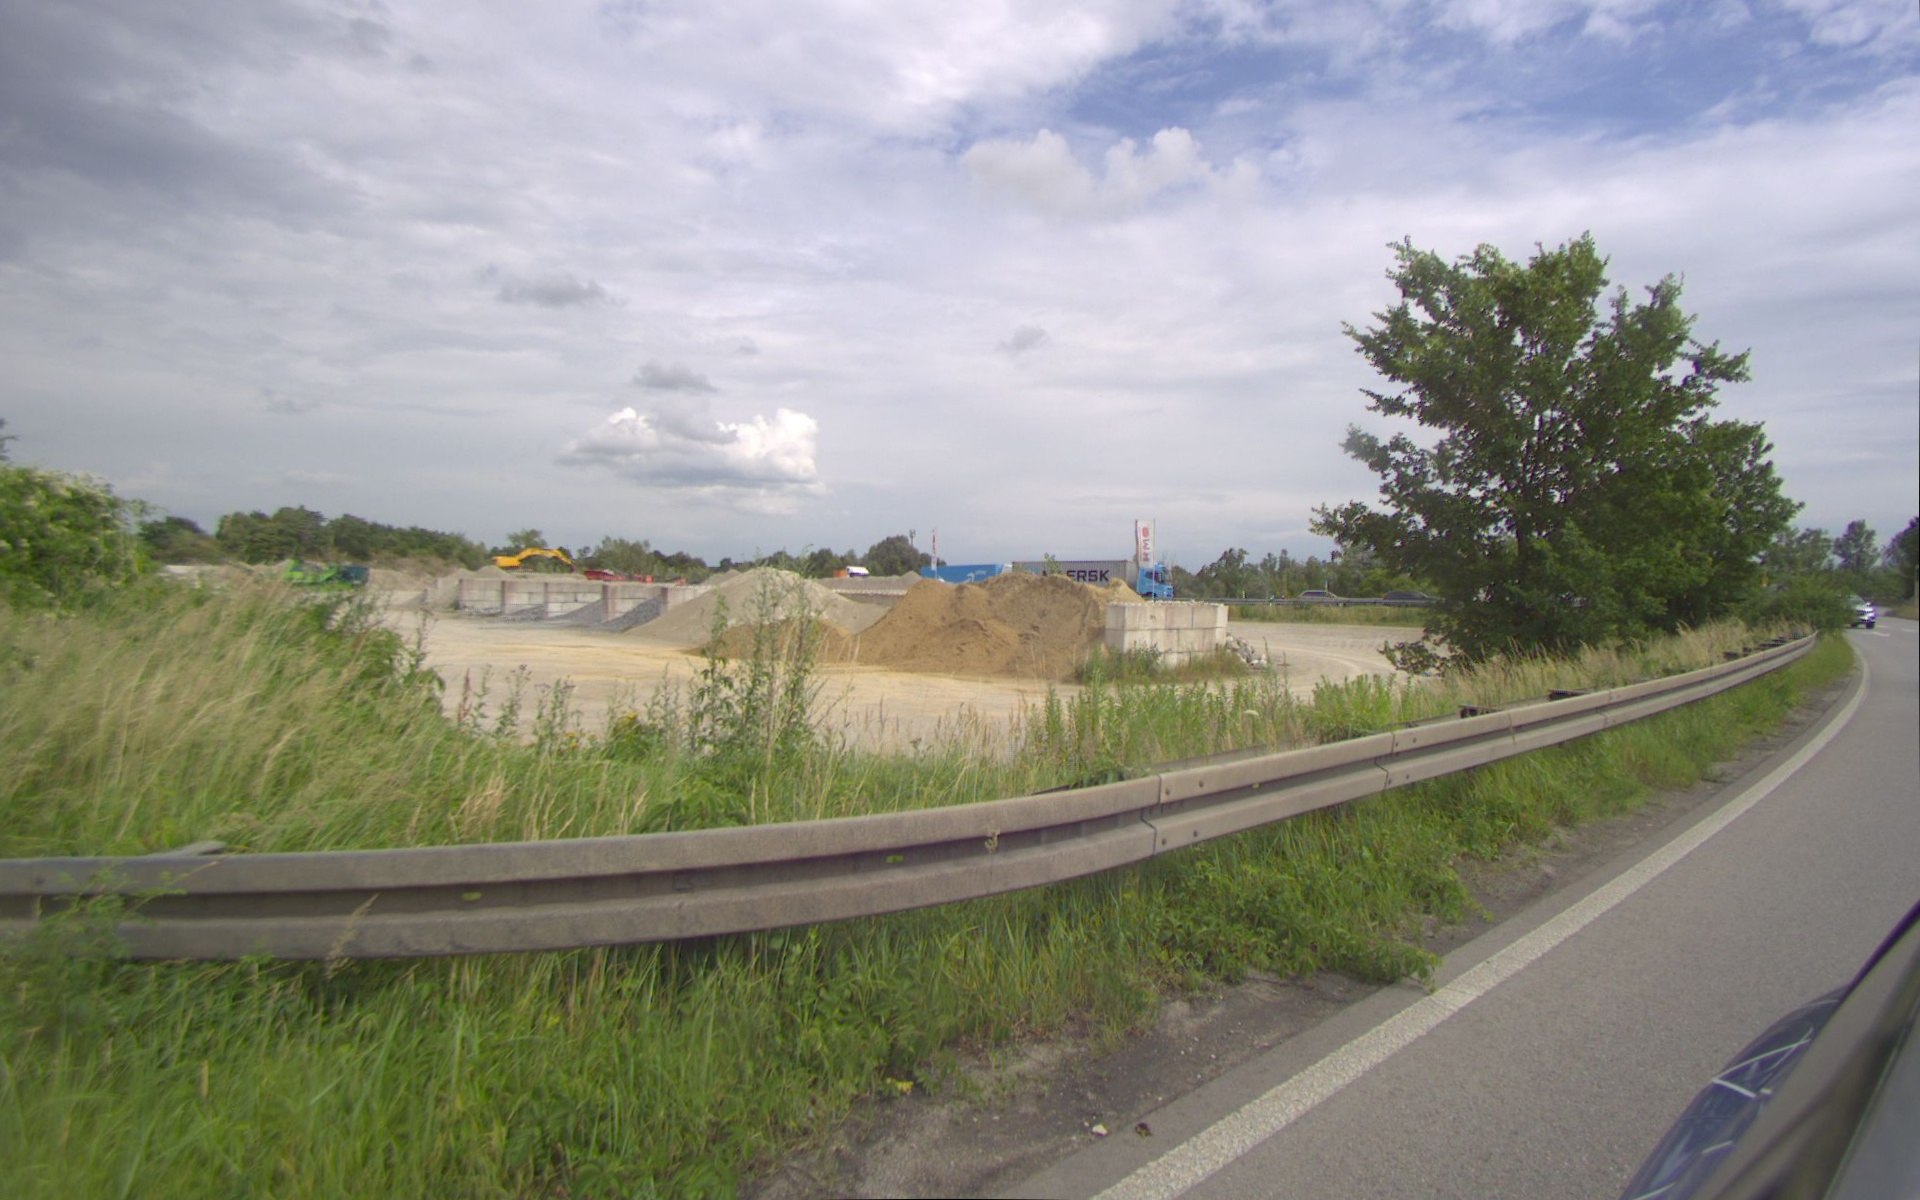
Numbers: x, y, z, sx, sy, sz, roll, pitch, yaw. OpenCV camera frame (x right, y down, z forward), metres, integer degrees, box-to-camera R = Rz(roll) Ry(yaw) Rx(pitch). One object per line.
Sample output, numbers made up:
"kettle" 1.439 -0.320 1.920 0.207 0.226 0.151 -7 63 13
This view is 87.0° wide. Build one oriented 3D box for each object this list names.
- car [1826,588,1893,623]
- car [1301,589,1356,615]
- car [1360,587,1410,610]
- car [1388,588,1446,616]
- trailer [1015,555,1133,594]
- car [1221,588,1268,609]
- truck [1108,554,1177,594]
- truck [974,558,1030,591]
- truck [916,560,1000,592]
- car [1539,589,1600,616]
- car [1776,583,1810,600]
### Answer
"car" 43.377 0.263 48.891 2.010 1.633 4.224 0 0 36
"car" 30.199 0.140 82.919 3.966 2.039 1.911 2 0 30
"car" 38.298 -0.140 91.126 3.966 2.039 1.911 0 -1 30
"car" 35.712 0.175 79.163 3.966 2.039 1.911 2 0 30
"trailer" 10.352 -2.241 93.331 11.160 3.352 2.361 0 -1 36
"car" 27.385 -0.133 97.427 3.966 2.039 1.911 0 -1 30
"truck" 16.091 -2.247 89.430 5.549 3.347 2.366 0 -1 31
"truck" 4.191 -2.558 102.779 2.348 3.093 5.980 1 -1 -38
"truck" -0.380 -2.502 108.570 2.348 3.093 11.747 1 -1 -38
"car" 47.023 0.196 78.137 3.970 2.039 1.977 1 0 32
"car" 99.390 -0.996 120.810 1.977 2.039 3.970 0 0 22
